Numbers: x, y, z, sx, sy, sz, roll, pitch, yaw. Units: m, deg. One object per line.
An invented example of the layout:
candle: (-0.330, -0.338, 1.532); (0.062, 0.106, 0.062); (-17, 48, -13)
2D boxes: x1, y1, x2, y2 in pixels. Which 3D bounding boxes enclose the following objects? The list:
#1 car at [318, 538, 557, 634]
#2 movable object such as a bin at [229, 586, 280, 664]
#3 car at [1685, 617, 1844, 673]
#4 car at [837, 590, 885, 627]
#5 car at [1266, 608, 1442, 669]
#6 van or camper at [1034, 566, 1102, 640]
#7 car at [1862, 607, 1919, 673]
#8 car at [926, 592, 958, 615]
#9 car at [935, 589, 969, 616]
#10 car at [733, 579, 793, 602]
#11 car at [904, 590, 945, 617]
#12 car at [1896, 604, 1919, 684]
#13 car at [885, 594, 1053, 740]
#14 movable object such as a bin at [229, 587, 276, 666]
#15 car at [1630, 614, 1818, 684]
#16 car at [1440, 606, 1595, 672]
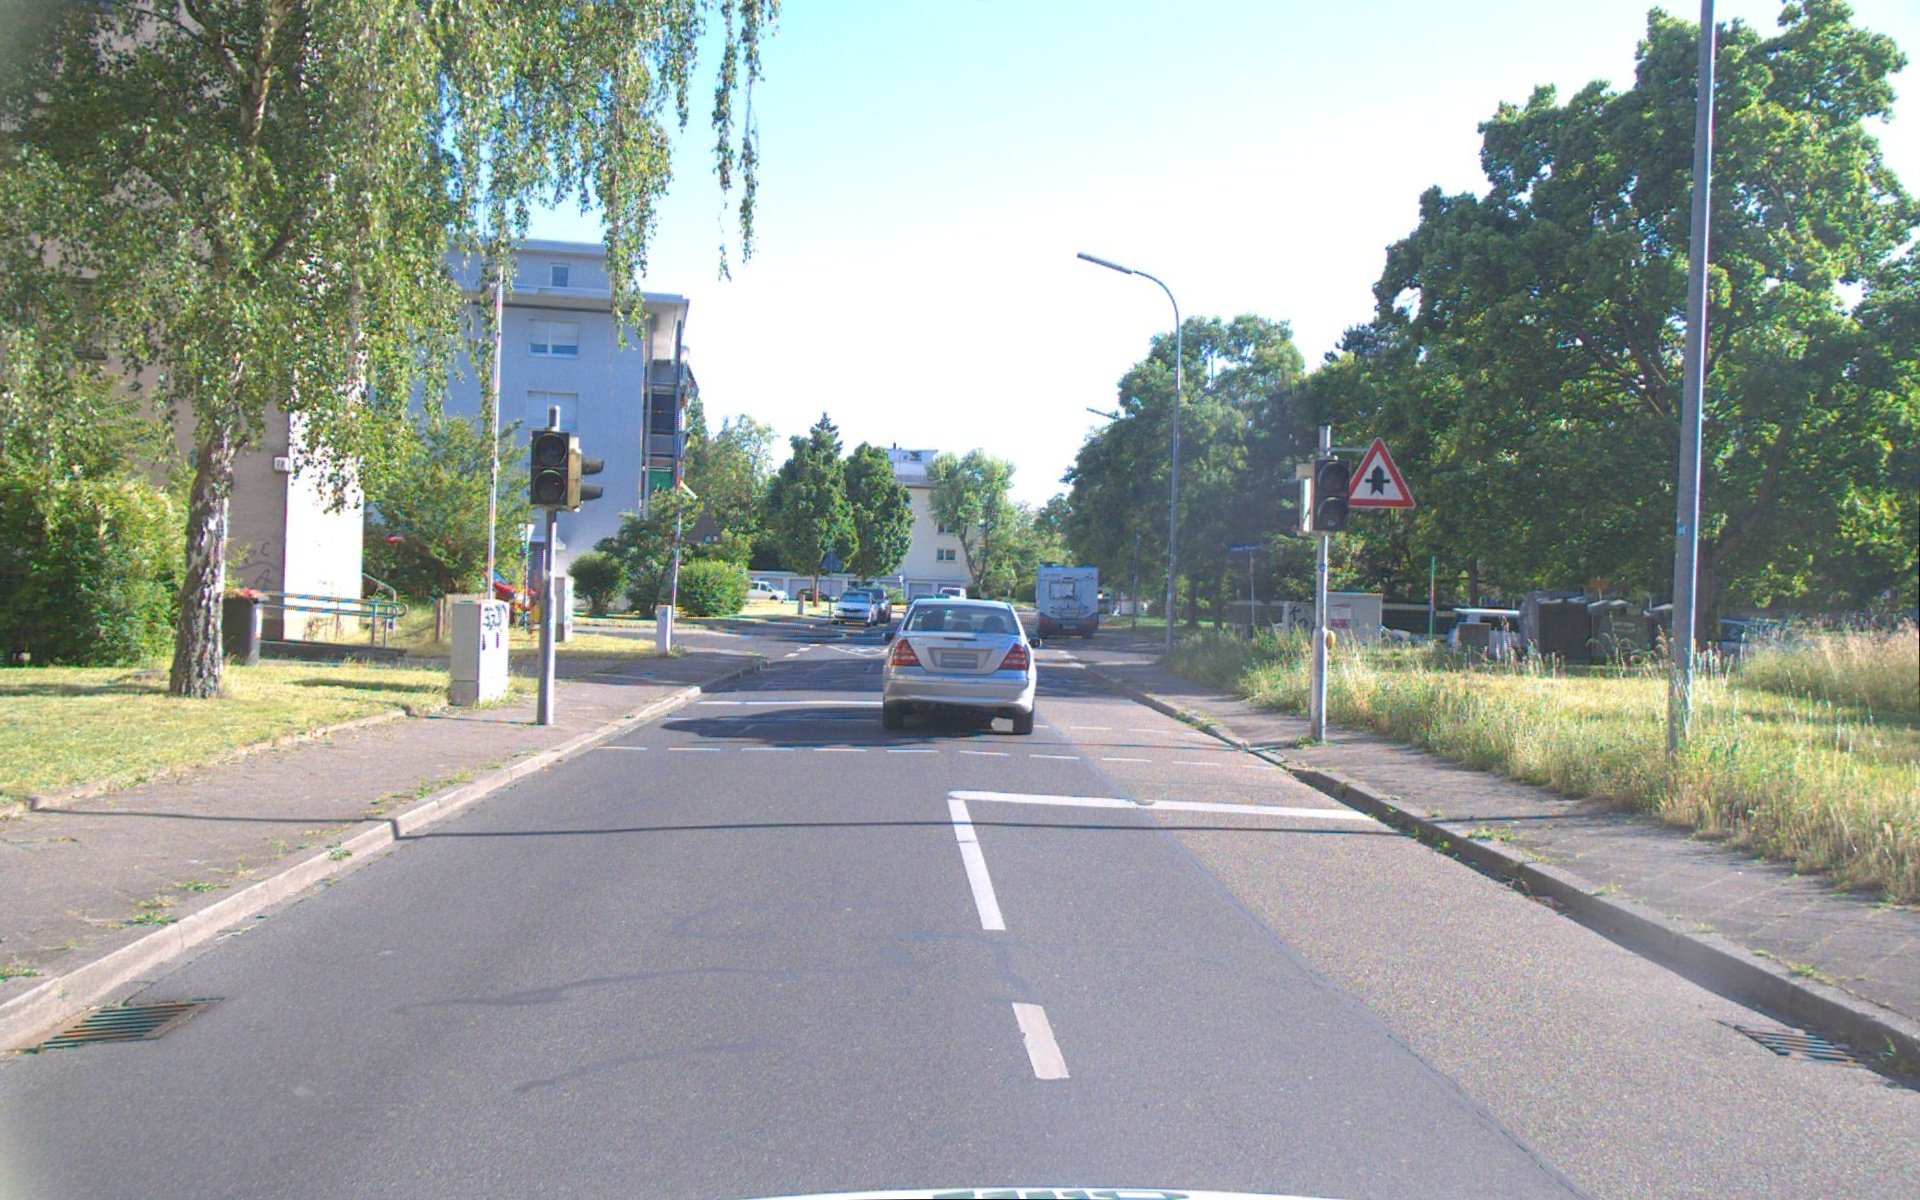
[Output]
car: (-14.209, -0.406, 45.218); (5.784, 2.471, 2.213); (1, 1, -1)
movable object such as a bin: (-9.982, 0.349, 23.405); (0.618, 1.066, 0.697); (2, 0, -24)
car: (23.750, 1.325, 48.916); (3.785, 1.421, 1.788); (2, 2, 3)
car: (-4.302, 0.336, 72.331); (1.612, 1.492, 4.332); (3, 0, 3)
car: (10.539, 1.023, 44.486); (4.332, 1.360, 1.747); (3, 2, 4)
van or camper: (4.071, 0.108, 63.153); (2.303, 2.642, 6.427); (-1, 0, 2)
car: (28.916, 1.208, 48.573); (3.783, 1.884, 2.002); (2, 0, 10)
car: (-1.264, 0.261, 120.131); (1.795, 1.544, 4.224); (4, 0, 6)
car: (-0.587, 0.175, 126.597); (1.972, 1.918, 5.194); (3, 0, 6)
car: (-17.918, -0.842, 150.485); (4.997, 1.985, 2.239); (1, 0, 13)
car: (-2.262, 0.206, 107.337); (1.992, 1.518, 5.259); (4, 0, 5)
car: (27.105, 1.208, 42.836); (4.408, 2.047, 2.275); (2, 0, 8)
car: (0.040, 0.689, 18.798); (1.698, 1.459, 3.437); (1, 0, -2)
movable object such as a bin: (-9.754, 0.360, 22.808); (0.555, 1.072, 0.553); (2, 0, -23)
car: (20.014, 1.266, 43.453); (4.016, 1.568, 1.975); (2, 1, 6)
car: (14.843, 1.022, 44.220); (3.606, 1.605, 1.830); (2, 0, 7)
